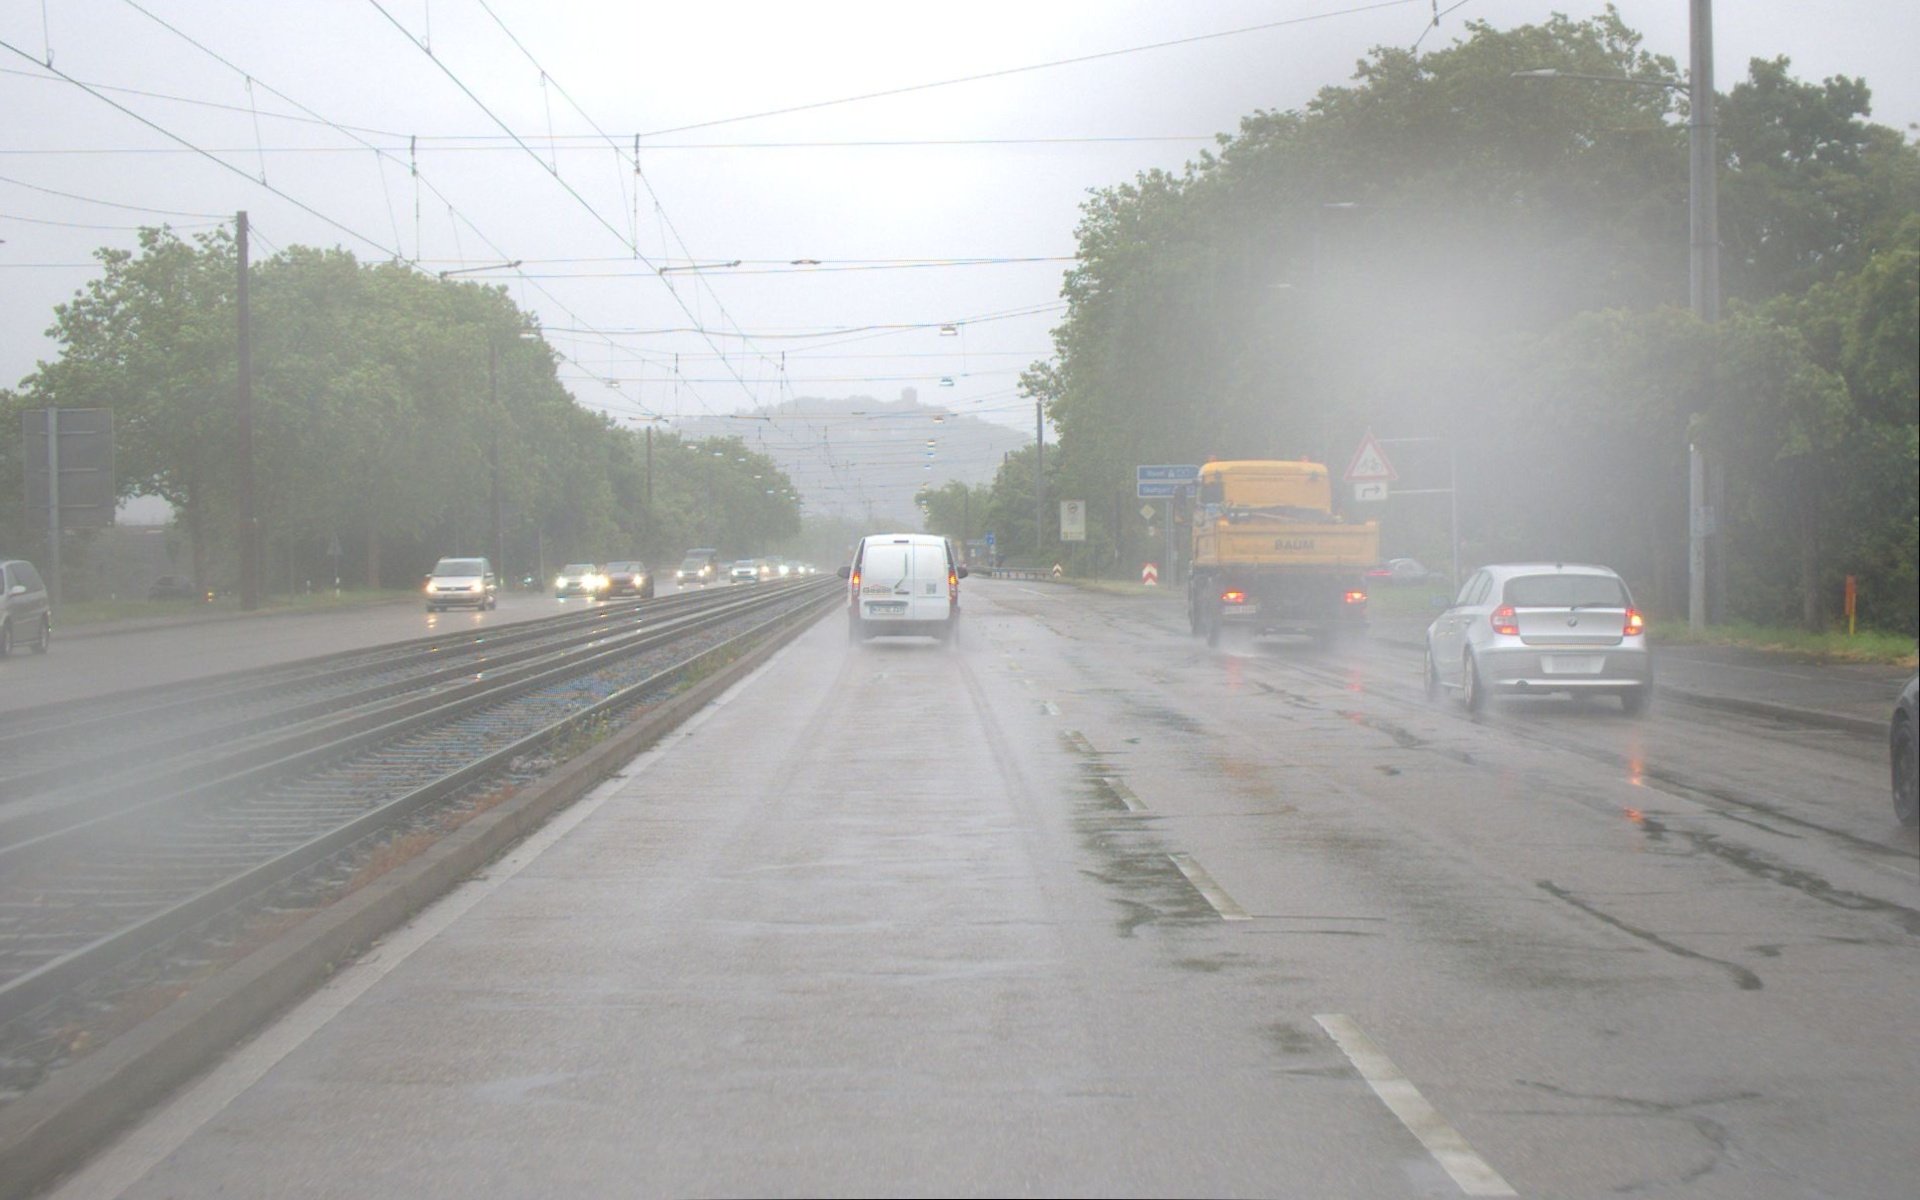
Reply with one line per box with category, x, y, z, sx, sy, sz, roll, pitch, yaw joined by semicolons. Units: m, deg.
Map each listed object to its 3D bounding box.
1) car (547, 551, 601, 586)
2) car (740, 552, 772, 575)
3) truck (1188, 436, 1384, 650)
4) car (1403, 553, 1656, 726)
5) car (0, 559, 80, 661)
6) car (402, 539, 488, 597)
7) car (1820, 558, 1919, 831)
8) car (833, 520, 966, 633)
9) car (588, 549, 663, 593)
car;-16.320;-1.340;145.404;1.757;1.358;5.072;1;2;-1
car;-13.016;-2.355;219.477;1.741;1.349;4.546;1;2;-1
truck;5.221;-0.977;56.094;2.556;3.246;6.933;1;2;0
car;5.537;0.331;33.932;1.626;1.498;4.606;1;2;-1
car;-17.094;0.133;60.813;1.825;1.629;5.137;1;2;-1
car;-15.138;-0.964;101.202;1.842;1.568;5.067;1;2;-1
car;5.830;0.513;17.375;1.888;1.352;4.277;1;2;0
car;-0.933;-0.403;54.799;1.989;1.678;3.740;1;2;1
car;-12.290;-1.086;126.630;1.994;1.459;5.251;-2;2;2
